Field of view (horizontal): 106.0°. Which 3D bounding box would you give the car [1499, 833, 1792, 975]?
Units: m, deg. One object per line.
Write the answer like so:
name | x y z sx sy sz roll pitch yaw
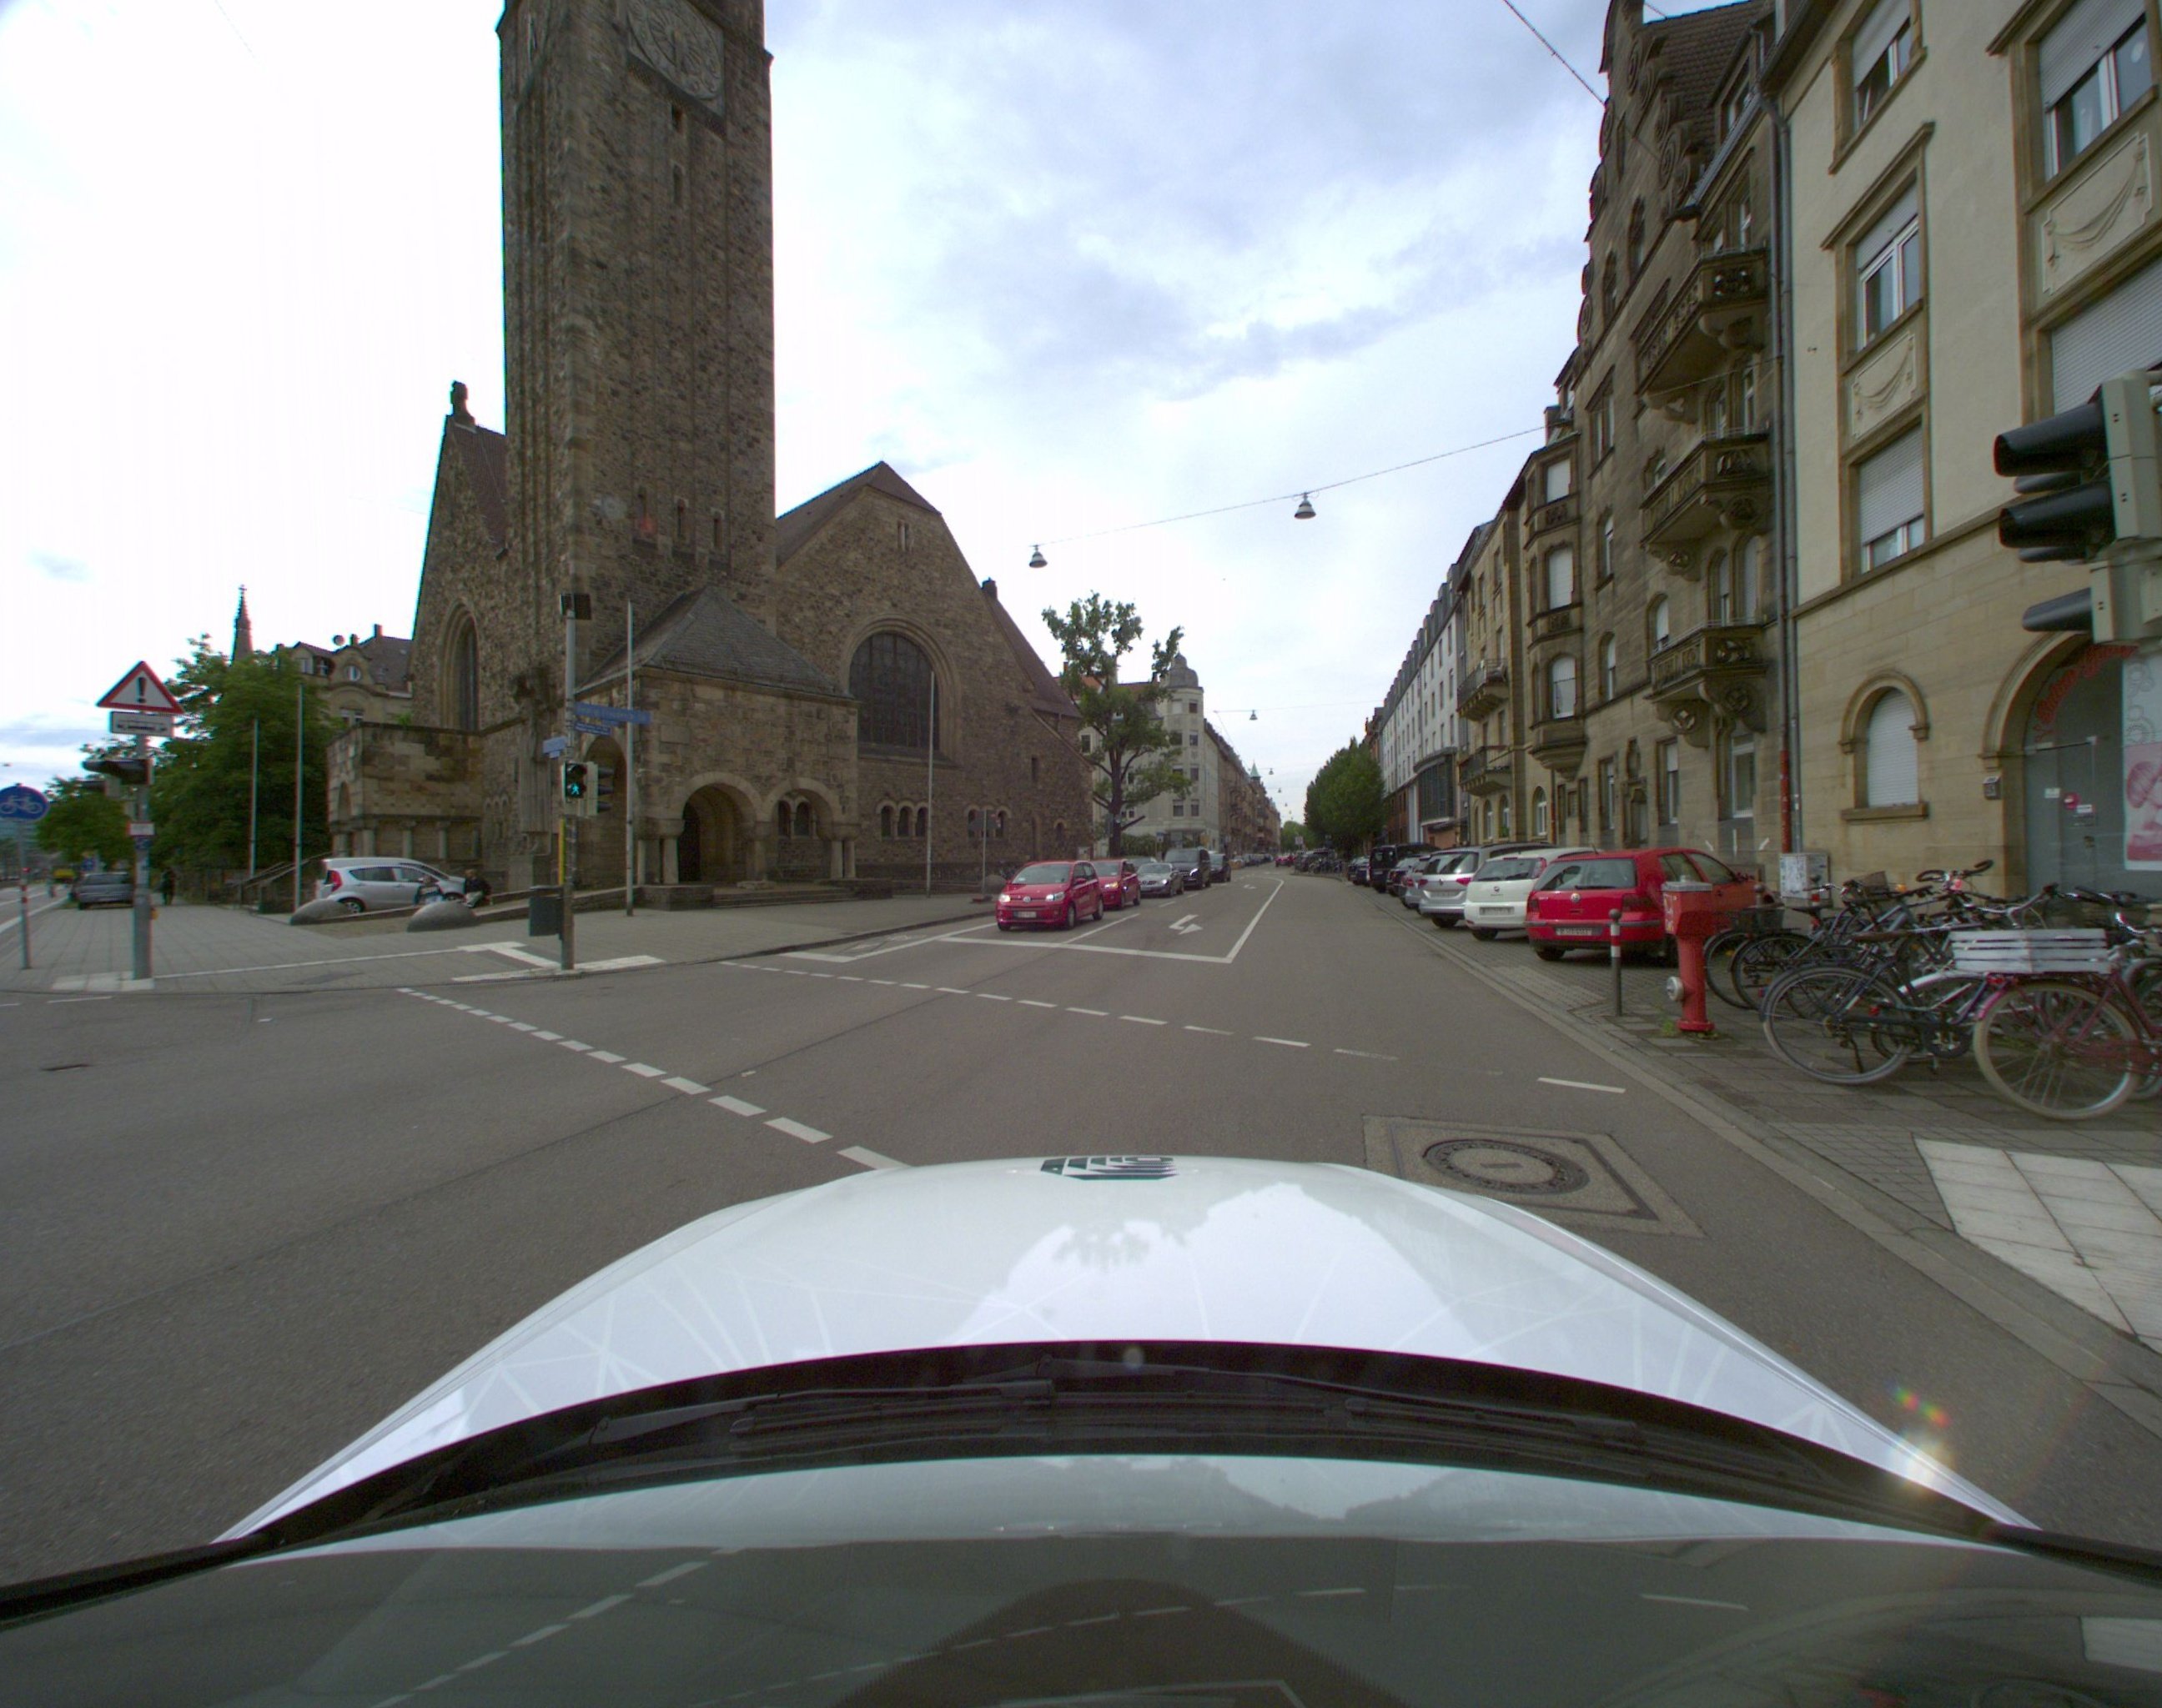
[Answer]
car | 7.641 0.574 10.970 3.847 1.561 1.777 -2 -1 -31

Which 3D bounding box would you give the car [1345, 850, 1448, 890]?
car | 14.391 0.710 37.223 3.993 1.534 1.923 -4 0 -14

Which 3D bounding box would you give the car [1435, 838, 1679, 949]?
car | 8.113 0.619 13.886 3.595 1.508 1.833 -3 -2 -27

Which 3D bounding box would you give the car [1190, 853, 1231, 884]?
car | 7.605 0.818 47.436 1.831 1.684 4.567 0 0 16

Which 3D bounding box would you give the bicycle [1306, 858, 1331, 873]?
bicycle | 19.028 0.950 65.311 1.871 1.141 0.614 -2 -2 12

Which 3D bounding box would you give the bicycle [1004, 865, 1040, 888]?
bicycle | -3.095 1.195 42.980 1.761 1.166 0.746 -1 -1 28

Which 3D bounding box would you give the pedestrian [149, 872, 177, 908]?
pedestrian | -42.481 1.672 37.692 0.783 1.647 0.788 2 -2 -44

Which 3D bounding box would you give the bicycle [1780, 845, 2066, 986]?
bicycle | 7.689 0.571 7.518 1.766 1.172 0.497 -4 -3 14

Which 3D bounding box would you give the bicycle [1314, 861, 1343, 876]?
bicycle | 18.504 1.113 60.872 1.995 1.062 0.614 -2 -2 12

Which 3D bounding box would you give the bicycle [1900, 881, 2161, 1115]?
bicycle | 5.474 0.733 4.279 1.556 1.127 0.478 -4 -3 14

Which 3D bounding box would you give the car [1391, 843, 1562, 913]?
car | 11.008 0.626 22.644 4.471 1.574 1.733 -3 0 -24

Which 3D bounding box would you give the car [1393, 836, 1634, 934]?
car | 8.733 0.579 16.511 4.224 1.682 1.903 -2 -2 -19

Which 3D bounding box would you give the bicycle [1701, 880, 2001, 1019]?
bicycle | 6.273 0.786 6.726 1.720 1.039 0.478 -4 -3 14

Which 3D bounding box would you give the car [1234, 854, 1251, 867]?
car | 21.137 0.852 106.668 1.930 1.617 3.958 0 -1 15

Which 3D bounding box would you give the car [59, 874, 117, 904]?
car | -55.882 1.950 45.885 3.948 1.585 2.012 -1 -1 40

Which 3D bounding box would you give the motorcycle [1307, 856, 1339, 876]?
motorcycle | 17.815 0.888 59.954 2.119 1.430 0.773 -2 -2 12

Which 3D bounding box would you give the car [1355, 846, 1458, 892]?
car | 13.815 0.616 34.561 4.007 1.601 1.751 -4 0 -25

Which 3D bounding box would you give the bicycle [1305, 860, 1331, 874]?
bicycle | 18.435 1.005 63.398 1.871 1.043 0.614 -2 -2 12

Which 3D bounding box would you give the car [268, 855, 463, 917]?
car | -23.651 1.027 27.108 1.641 1.881 4.654 -1 -2 40

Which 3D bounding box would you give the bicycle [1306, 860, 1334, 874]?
bicycle | 18.130 0.996 61.790 1.916 1.043 0.614 -2 -2 12

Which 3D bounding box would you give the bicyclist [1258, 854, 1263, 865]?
bicyclist | 23.952 0.761 108.527 0.664 1.399 0.786 0 -2 12

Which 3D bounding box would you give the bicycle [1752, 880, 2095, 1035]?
bicycle | 6.190 0.768 6.076 1.720 1.039 0.478 -4 -3 14

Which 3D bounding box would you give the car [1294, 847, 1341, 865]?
car | 29.694 0.246 102.306 5.624 2.127 1.938 -1 -1 -19

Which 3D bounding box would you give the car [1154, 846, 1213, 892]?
car | 4.800 0.647 37.559 1.897 1.954 5.306 0 0 16

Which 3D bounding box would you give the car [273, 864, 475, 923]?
car | -21.259 1.145 24.667 1.641 1.636 4.389 -1 -2 40

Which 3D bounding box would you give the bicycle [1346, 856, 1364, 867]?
bicycle | 28.417 0.814 84.568 1.740 1.092 0.567 0 -2 14

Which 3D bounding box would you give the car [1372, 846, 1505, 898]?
car | 12.581 0.626 28.673 4.076 1.453 2.015 -4 -1 -24

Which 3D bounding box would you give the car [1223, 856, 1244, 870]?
car | 17.984 1.069 96.186 1.928 1.553 3.835 -2 -1 18

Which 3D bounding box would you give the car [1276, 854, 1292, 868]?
car | 26.232 0.890 105.084 1.979 1.681 4.015 0 -2 14

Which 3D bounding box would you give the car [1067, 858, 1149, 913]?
car | 0.876 0.898 24.203 1.590 1.457 3.732 -3 -2 14

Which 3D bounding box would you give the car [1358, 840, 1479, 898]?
car | 13.061 0.565 31.507 4.291 1.906 1.863 -4 0 -26

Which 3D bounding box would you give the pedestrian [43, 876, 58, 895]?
pedestrian | -80.982 2.480 63.979 0.643 1.474 0.658 -1 -1 30

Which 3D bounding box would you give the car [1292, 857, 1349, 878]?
car | 20.396 1.169 69.395 4.285 1.578 1.852 -3 -1 -18

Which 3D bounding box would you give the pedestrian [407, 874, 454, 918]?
pedestrian | -18.335 1.168 22.931 1.474 1.192 0.743 -1 -2 40

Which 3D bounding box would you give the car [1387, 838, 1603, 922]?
car | 10.021 0.589 19.734 4.755 1.685 1.923 -3 -2 -21

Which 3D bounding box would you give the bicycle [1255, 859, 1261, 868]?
bicycle | 22.631 1.169 104.203 0.563 1.087 1.995 -1 0 17

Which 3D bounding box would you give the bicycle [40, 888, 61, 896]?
bicycle | -80.897 2.984 63.899 2.350 0.655 0.616 -2 -2 29

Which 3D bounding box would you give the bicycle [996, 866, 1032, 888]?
bicycle | -3.484 1.201 42.265 1.761 1.130 0.665 -1 -1 28

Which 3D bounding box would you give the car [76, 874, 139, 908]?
car | -43.840 1.628 36.716 3.840 1.459 1.718 -1 -2 41

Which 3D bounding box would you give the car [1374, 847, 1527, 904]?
car | 11.591 0.645 25.544 4.471 1.552 1.837 -2 -1 -24

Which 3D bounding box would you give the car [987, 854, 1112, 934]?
car | -0.582 0.829 18.491 1.636 1.528 3.910 -3 0 16

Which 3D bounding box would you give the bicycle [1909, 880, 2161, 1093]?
bicycle | 5.937 0.745 4.682 1.556 1.127 0.478 -4 -3 14

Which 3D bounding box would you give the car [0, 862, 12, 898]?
car | -79.725 1.871 58.431 5.755 2.607 2.534 -1 -2 26

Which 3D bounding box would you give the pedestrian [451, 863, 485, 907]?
pedestrian | -17.770 0.897 23.627 0.742 1.229 1.051 1 -2 -35

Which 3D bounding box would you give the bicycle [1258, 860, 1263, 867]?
bicycle | 23.874 1.245 108.470 0.531 0.977 1.872 0 -2 15

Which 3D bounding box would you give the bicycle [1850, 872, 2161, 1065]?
bicycle | 6.060 0.724 5.206 1.556 1.127 0.478 -4 -3 14

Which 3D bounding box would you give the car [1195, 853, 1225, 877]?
car | 11.076 0.928 69.629 1.829 1.939 4.568 0 0 17

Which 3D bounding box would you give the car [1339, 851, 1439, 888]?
car | 15.026 0.734 39.811 4.246 1.478 1.679 -4 0 -9

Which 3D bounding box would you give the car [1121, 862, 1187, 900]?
car | 2.851 0.998 30.995 1.691 1.287 4.059 -3 -2 16

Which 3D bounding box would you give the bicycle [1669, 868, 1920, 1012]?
bicycle | 6.288 0.759 7.255 1.556 1.172 0.478 -4 -3 14

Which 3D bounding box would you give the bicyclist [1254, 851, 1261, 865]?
bicyclist | 22.694 0.535 104.508 0.776 1.866 0.718 -1 0 17

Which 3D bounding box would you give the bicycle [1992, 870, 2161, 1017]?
bicycle | 8.196 0.654 6.149 1.720 1.039 0.478 -4 -3 14
